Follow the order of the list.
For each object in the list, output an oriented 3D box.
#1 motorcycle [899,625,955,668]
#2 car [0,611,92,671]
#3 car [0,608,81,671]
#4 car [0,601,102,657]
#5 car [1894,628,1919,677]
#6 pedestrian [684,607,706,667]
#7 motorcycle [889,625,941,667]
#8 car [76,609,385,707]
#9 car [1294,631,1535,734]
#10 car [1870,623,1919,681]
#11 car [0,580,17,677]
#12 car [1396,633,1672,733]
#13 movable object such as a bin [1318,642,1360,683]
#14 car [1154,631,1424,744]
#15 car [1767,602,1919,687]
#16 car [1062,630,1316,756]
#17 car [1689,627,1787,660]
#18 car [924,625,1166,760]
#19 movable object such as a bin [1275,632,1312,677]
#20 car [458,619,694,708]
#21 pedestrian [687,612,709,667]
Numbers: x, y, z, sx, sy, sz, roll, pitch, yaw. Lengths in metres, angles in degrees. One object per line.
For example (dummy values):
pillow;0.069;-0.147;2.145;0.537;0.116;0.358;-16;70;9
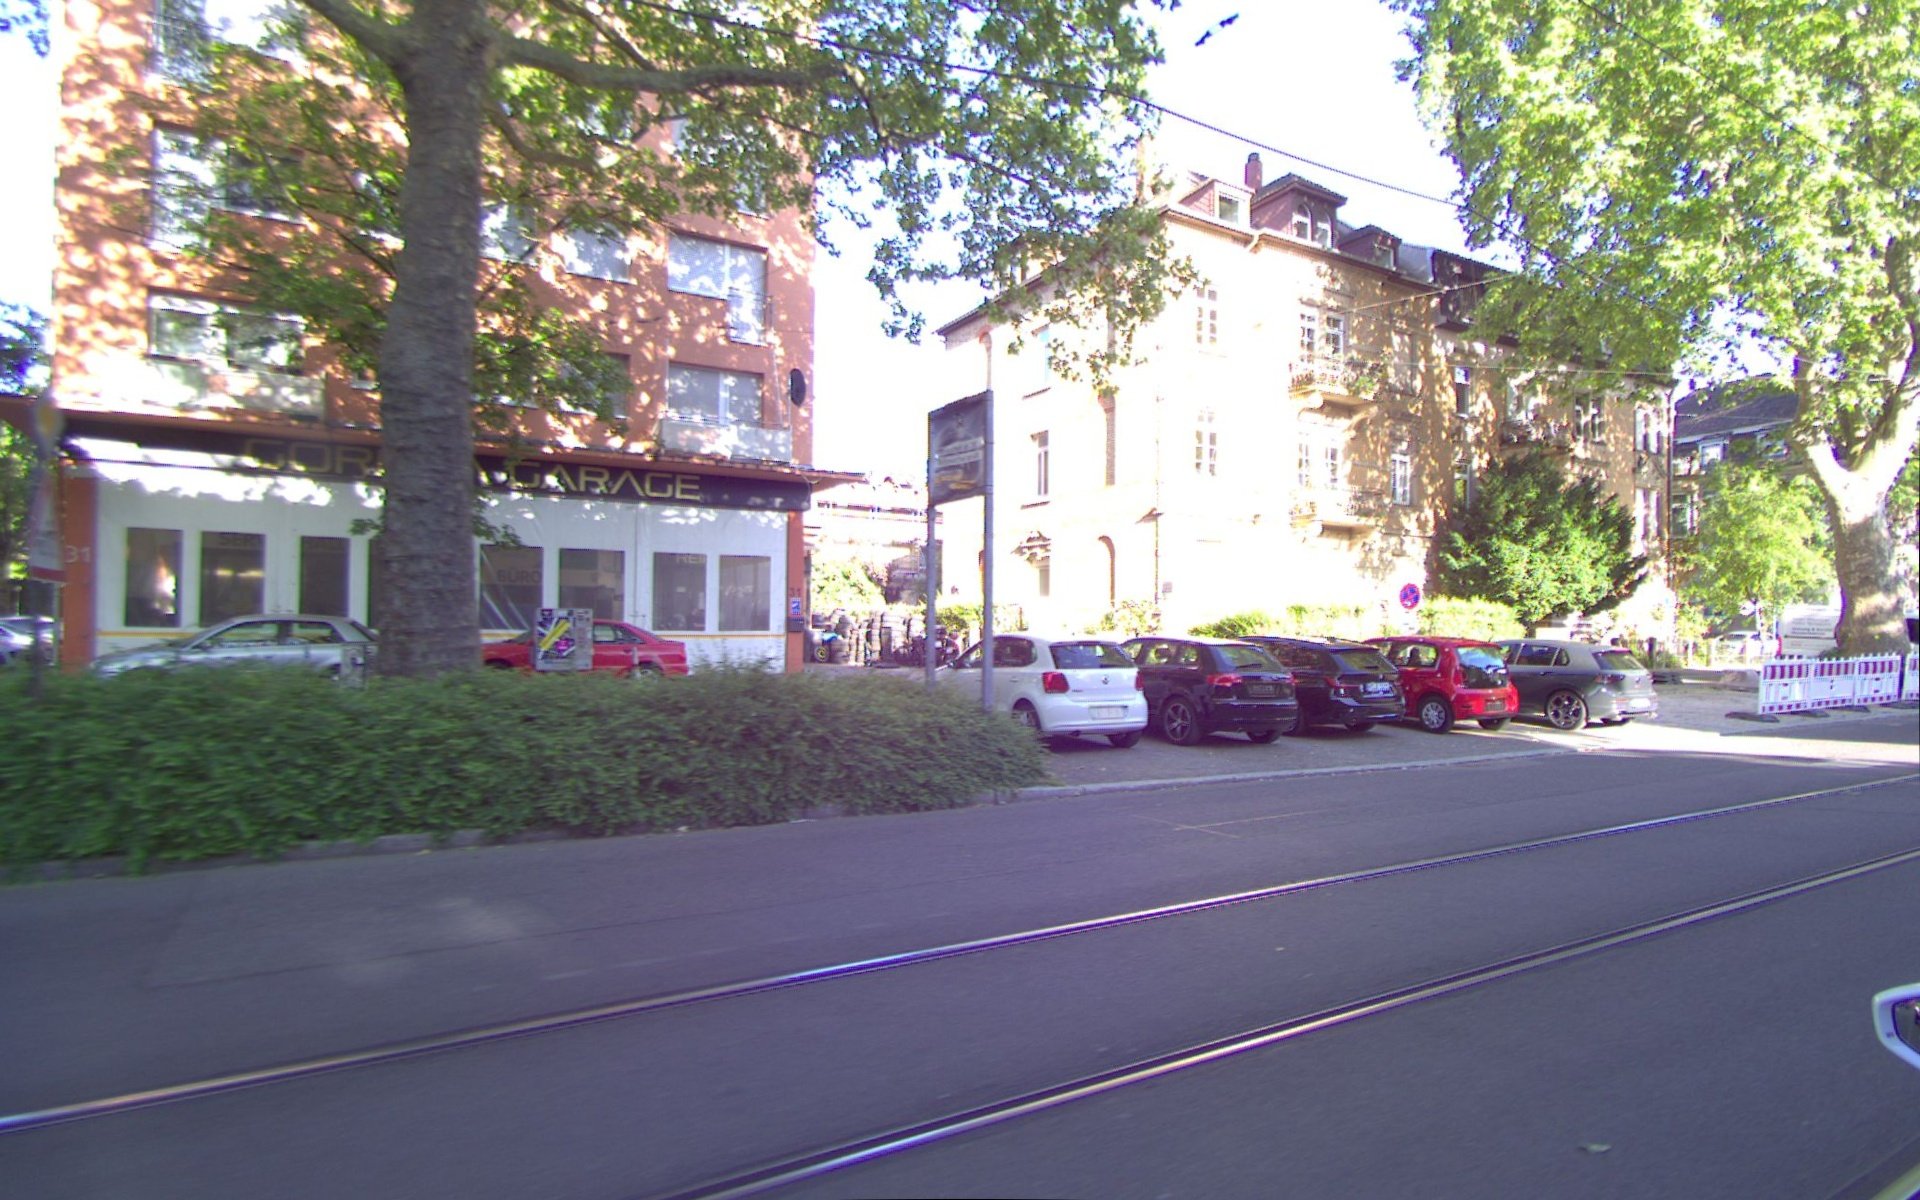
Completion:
motorcycle;-1.028;1.445;31.316;1.609;1.321;0.639;1;-1;-31
car;-27.638;1.149;28.457;4.443;1.639;1.930;2;-1;-38
car;-26.393;1.031;26.669;4.443;1.639;1.930;2;-1;-38
car;-29.088;0.860;30.521;4.443;1.639;1.930;2;-1;-38
car;33.706;1.760;32.876;1.905;1.628;4.276;1;-1;-32
pedestrian;-8.081;1.124;30.640;0.514;1.801;0.536;1;-1;-30
motorcycle;-1.412;1.451;31.940;1.545;1.306;0.590;1;-1;-31
car;-11.649;0.898;16.433;3.846;1.426;1.939;2;-1;-30
car;7.597;1.314;17.082;1.737;1.484;3.407;1;-1;-27
car;31.552;1.658;31.398;1.905;1.825;4.276;1;-1;-32
car;-22.193;0.535;19.833;4.867;2.030;1.982;2;-1;-33
car;10.213;1.392;18.165;1.832;1.484;3.968;1;-1;-30
movable object such as a bin;9.884;1.622;26.181;0.727;1.036;0.719;1;-1;-28
car;5.138;1.297;16.246;1.797;1.484;4.067;1;-1;-27
car;26.387;1.237;28.562;2.063;2.289;5.004;1;-1;-33
car;3.157;1.226;14.499;1.665;1.484;3.588;1;-1;-27
car;40.144;2.237;51.843;4.669;1.613;1.853;1;-1;-21
car;1.003;1.123;13.448;1.675;1.484;3.407;1;-1;-27
movable object such as a bin;8.602;1.402;25.936;0.536;1.124;0.721;1;-1;-28
car;-7.296;1.158;19.145;3.952;1.507;1.939;2;-1;-30
pedestrian;-8.199;1.224;31.406;0.543;1.682;0.500;1;-1;-30
